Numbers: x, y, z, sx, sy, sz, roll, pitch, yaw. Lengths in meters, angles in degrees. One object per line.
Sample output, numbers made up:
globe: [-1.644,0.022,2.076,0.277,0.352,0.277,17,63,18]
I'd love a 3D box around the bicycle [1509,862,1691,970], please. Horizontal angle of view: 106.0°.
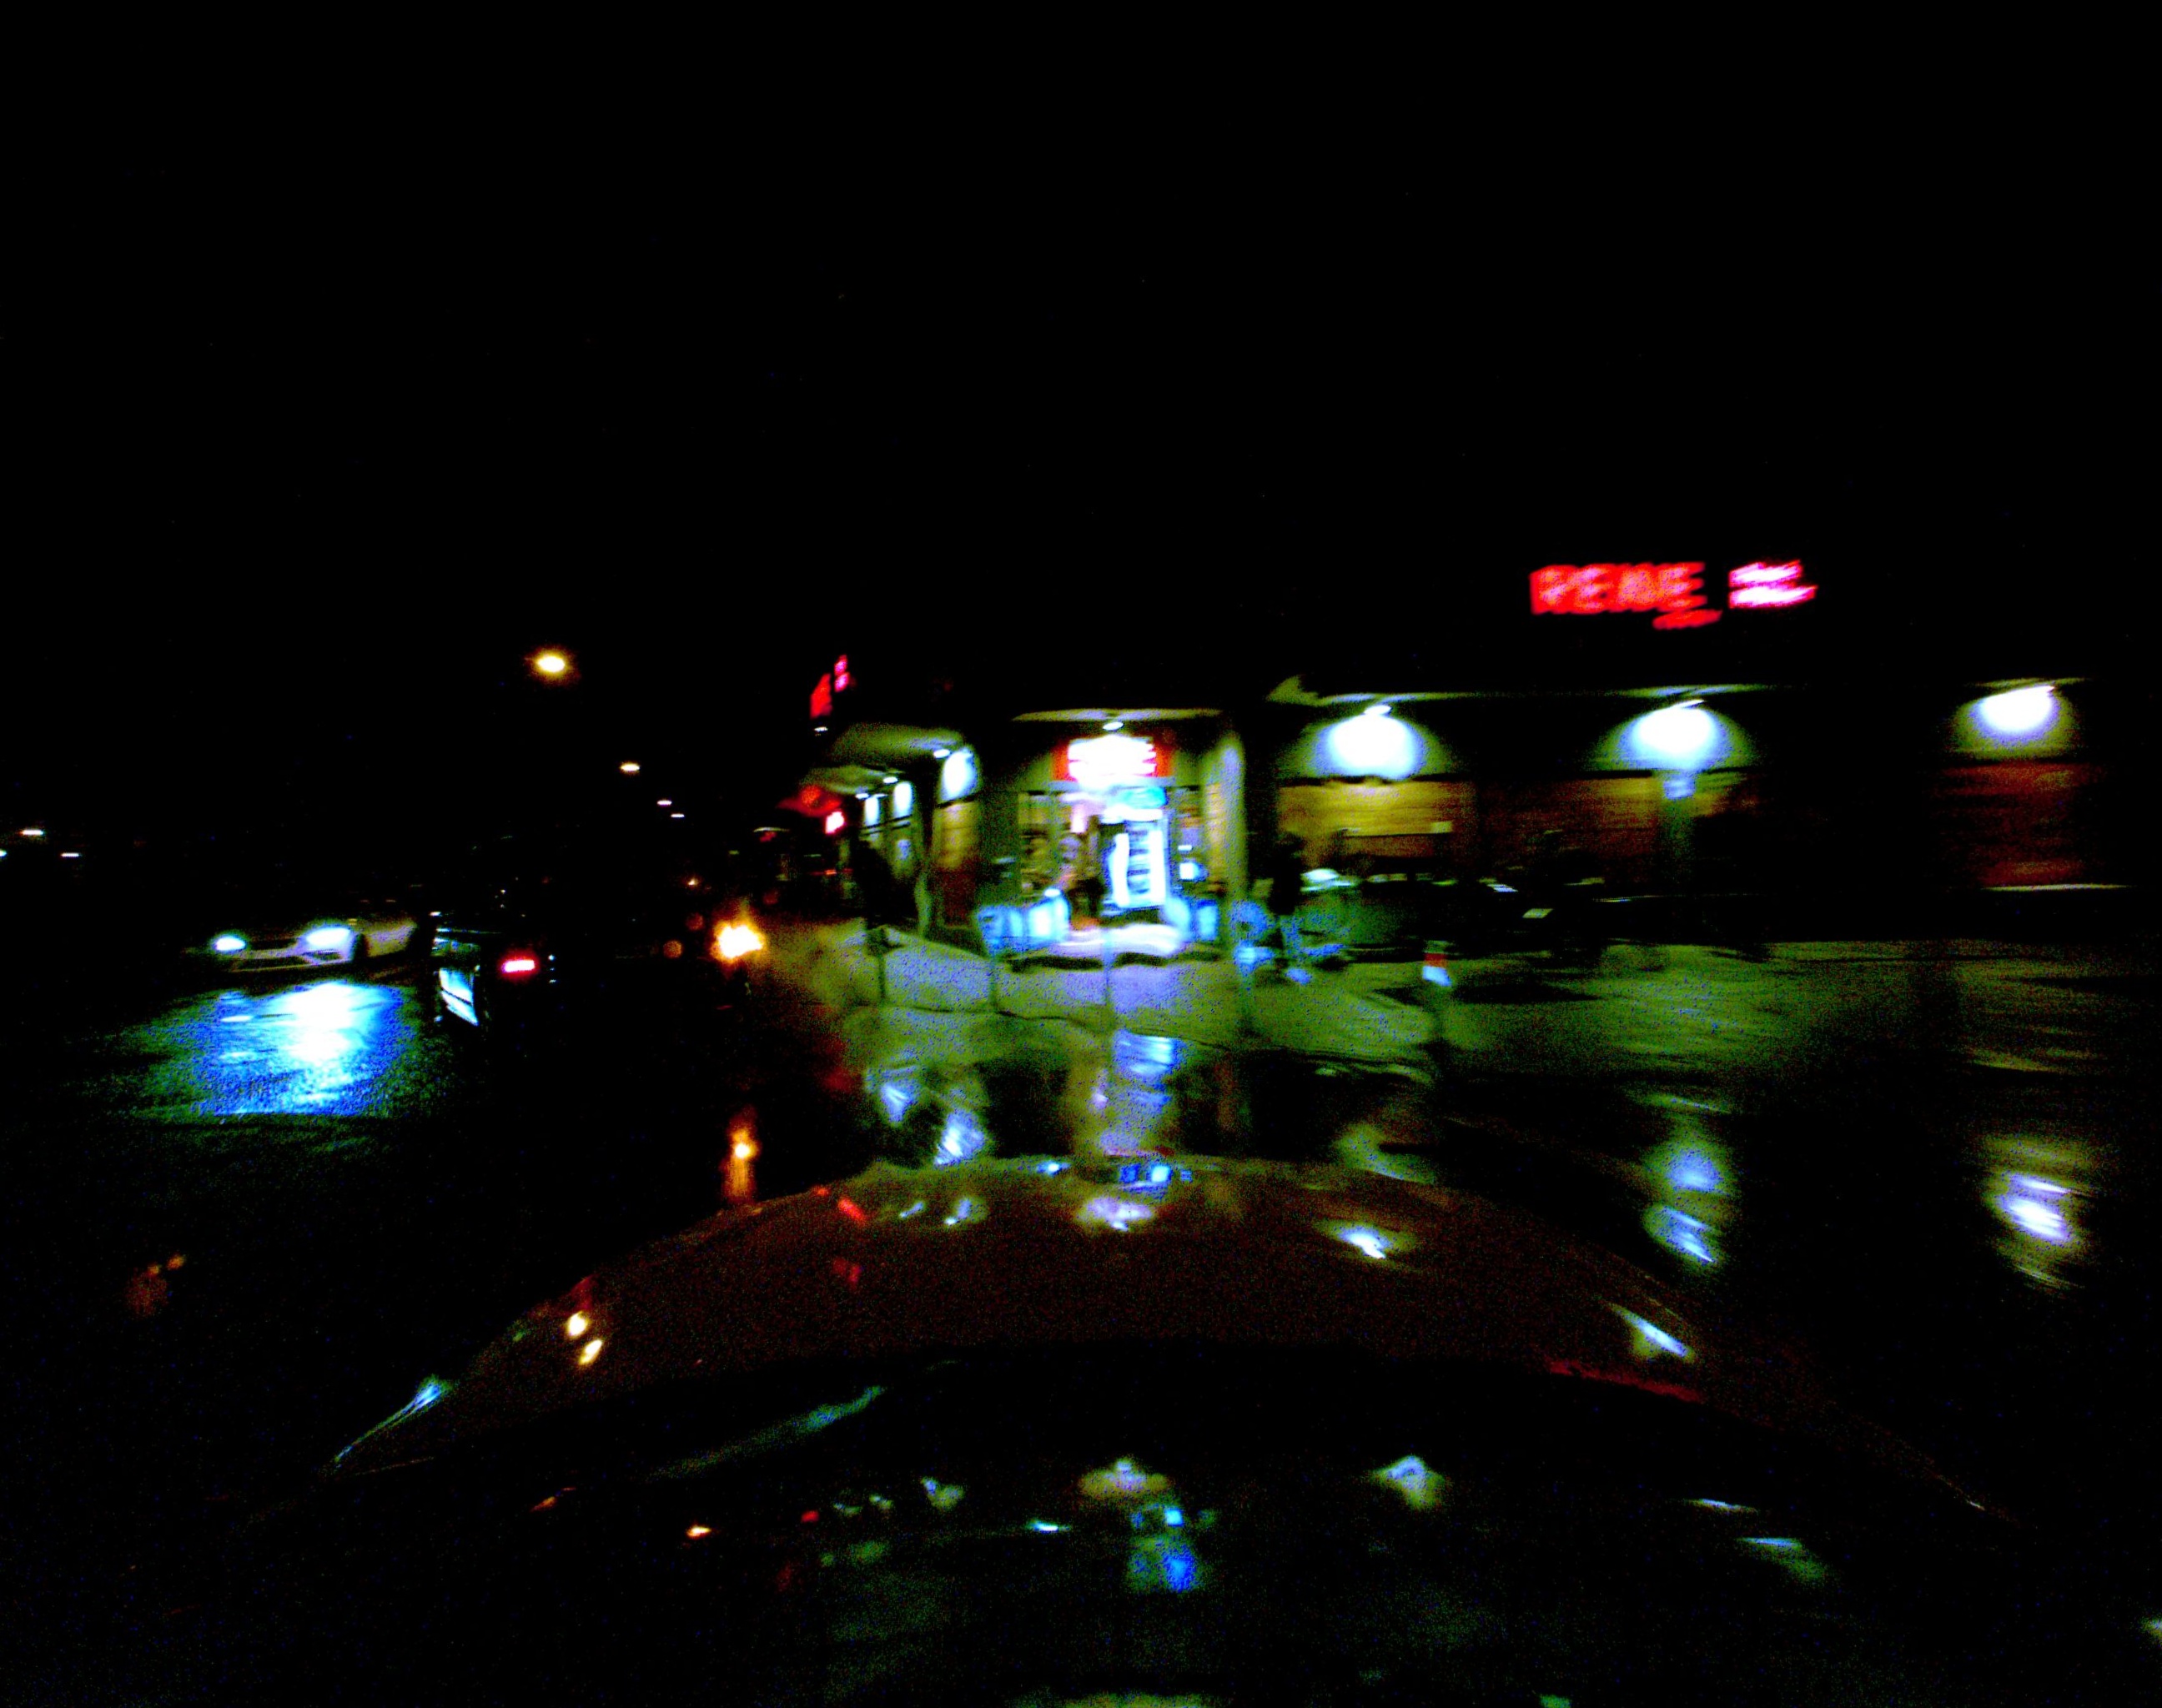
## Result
bicycle: [5.925,0.703,9.340,1.773,1.174,0.384,-1,0,3]

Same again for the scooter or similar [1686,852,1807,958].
scooter or similar: [8.238,0.591,10.138,0.522,1.229,1.315,0,0,5]

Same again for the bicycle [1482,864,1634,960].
bicycle: [5.973,0.723,10.240,1.635,1.174,0.384,0,-3,3]

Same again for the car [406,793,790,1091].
car: [-4.855,0.629,7.831,2.142,1.991,4.544,0,-1,-45]

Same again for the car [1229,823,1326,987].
car: [2.302,0.577,9.669,0.957,1.841,0.878,-1,0,3]

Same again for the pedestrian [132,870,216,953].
pedestrian: [-20.147,1.253,18.117,0.806,1.766,1.009,1,-2,-18]

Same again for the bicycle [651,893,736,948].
bicycle: [-9.539,1.623,20.086,1.772,1.124,0.432,-5,1,-27]

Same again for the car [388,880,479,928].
car: [-21.997,1.647,27.784,1.593,1.449,3.475,-1,-1,-24]

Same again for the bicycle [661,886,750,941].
bicycle: [-8.556,1.342,18.576,1.792,1.125,0.432,-2,0,-27]

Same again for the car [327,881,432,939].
car: [-20.487,1.594,23.907,1.593,1.510,2.765,-1,-1,-24]

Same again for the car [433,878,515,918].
car: [-24.234,1.714,32.653,1.698,1.401,4.282,-1,-1,-24]

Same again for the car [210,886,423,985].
car: [-14.165,1.414,15.391,1.570,1.427,4.038,-3,0,-23]

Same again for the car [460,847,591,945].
car: [-12.554,0.864,18.722,2.136,1.922,4.779,0,-1,-30]

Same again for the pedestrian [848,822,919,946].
pedestrian: [-3.738,0.538,15.372,1.059,2.208,0.962,-3,-1,-25]

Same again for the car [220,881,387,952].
car: [-18.529,1.421,19.647,1.593,1.464,3.992,2,-2,-24]

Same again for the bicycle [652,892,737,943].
bicycle: [-9.160,1.489,19.341,1.771,1.079,0.432,-2,0,-27]
